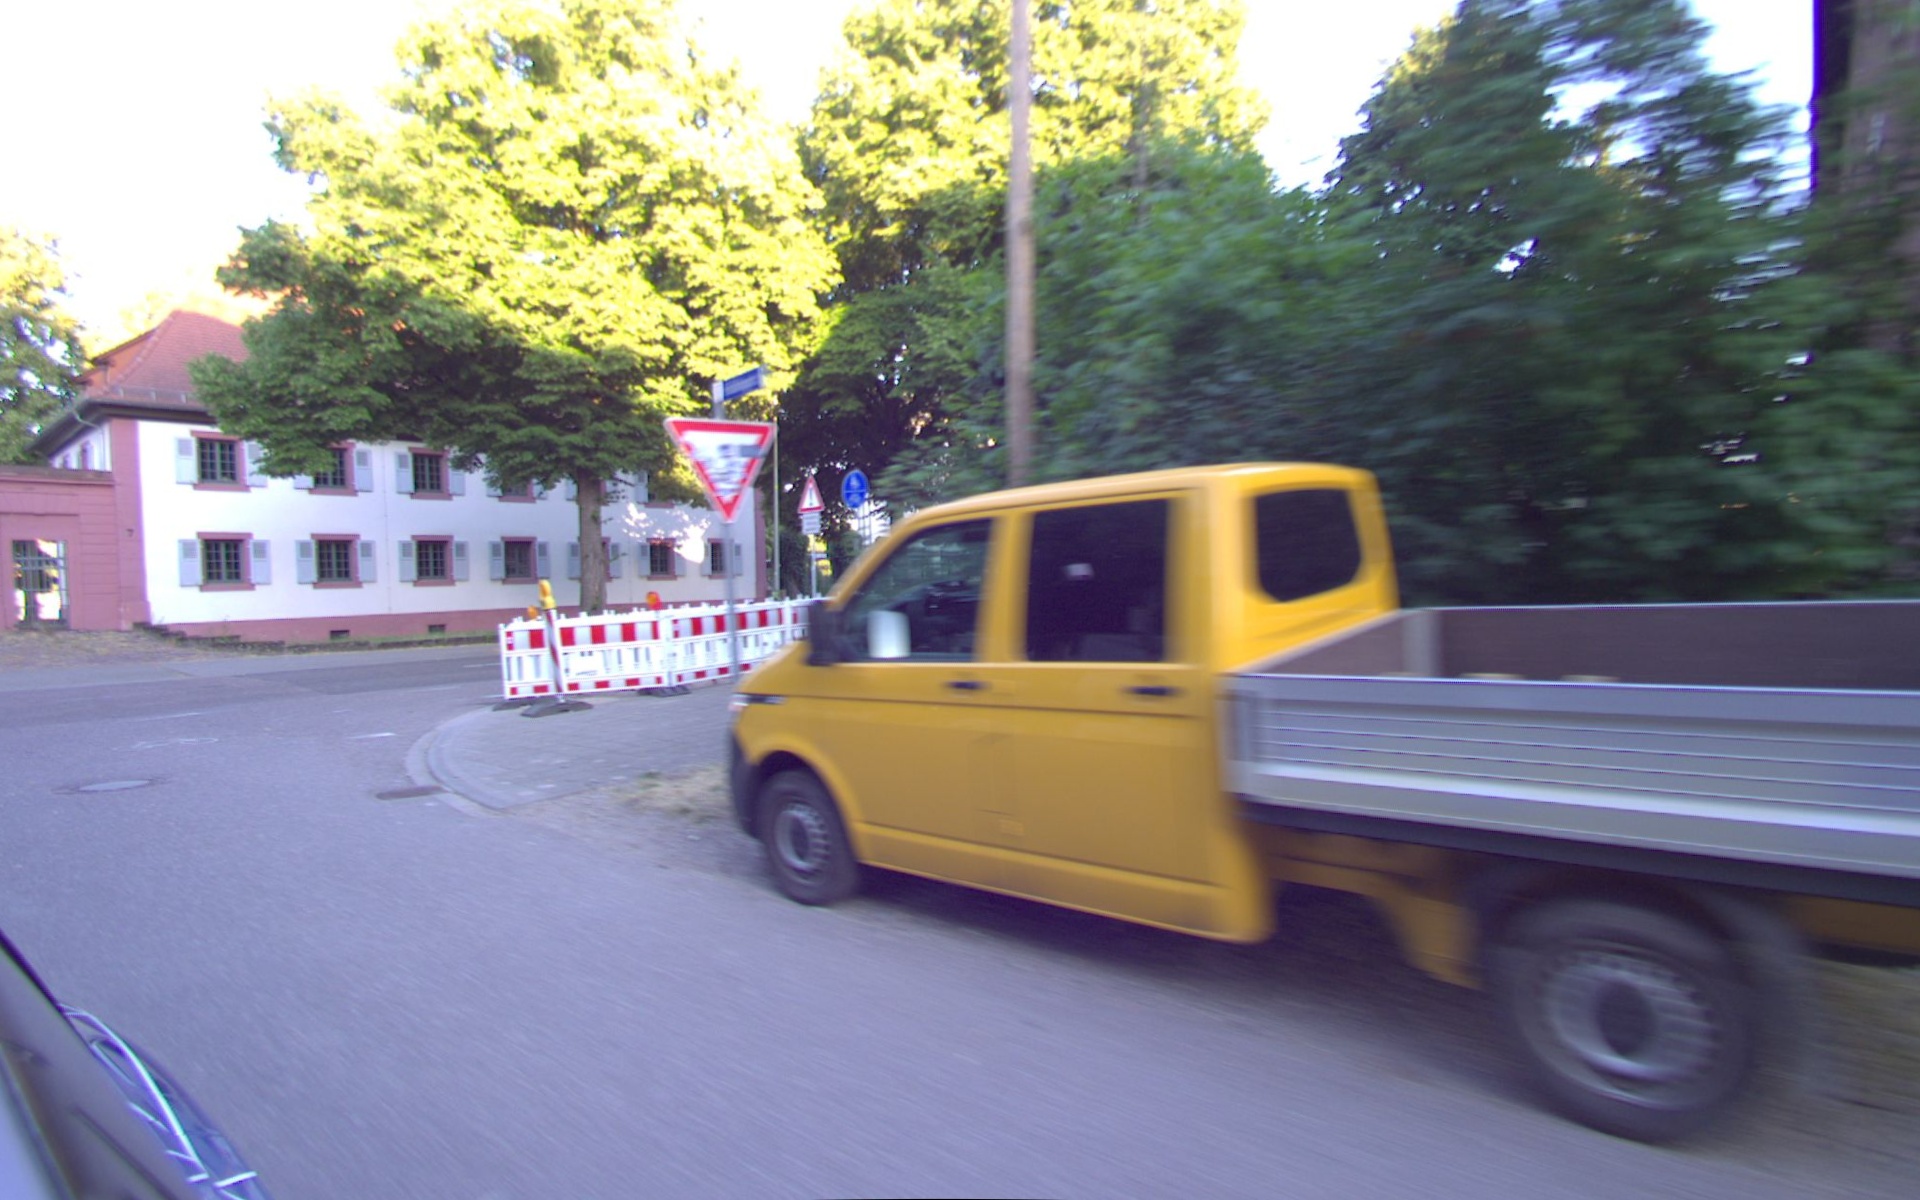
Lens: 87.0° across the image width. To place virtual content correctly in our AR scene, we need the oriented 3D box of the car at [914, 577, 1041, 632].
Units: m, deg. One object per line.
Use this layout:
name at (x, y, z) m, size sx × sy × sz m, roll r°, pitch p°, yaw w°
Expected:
car at (0.660, 0.115, 34.064) m, size 1.791 × 1.568 × 4.349 m, roll -2°, pitch 1°, yaw 42°

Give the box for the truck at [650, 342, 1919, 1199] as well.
truck at (1.193, 0.374, 4.224) m, size 5.658 × 1.927 × 2.014 m, roll 0°, pitch 3°, yaw 41°

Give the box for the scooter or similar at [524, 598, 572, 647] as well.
scooter or similar at (-11.457, 0.606, 28.183) m, size 0.239 × 1.285 × 1.252 m, roll -1°, pitch 2°, yaw 35°
